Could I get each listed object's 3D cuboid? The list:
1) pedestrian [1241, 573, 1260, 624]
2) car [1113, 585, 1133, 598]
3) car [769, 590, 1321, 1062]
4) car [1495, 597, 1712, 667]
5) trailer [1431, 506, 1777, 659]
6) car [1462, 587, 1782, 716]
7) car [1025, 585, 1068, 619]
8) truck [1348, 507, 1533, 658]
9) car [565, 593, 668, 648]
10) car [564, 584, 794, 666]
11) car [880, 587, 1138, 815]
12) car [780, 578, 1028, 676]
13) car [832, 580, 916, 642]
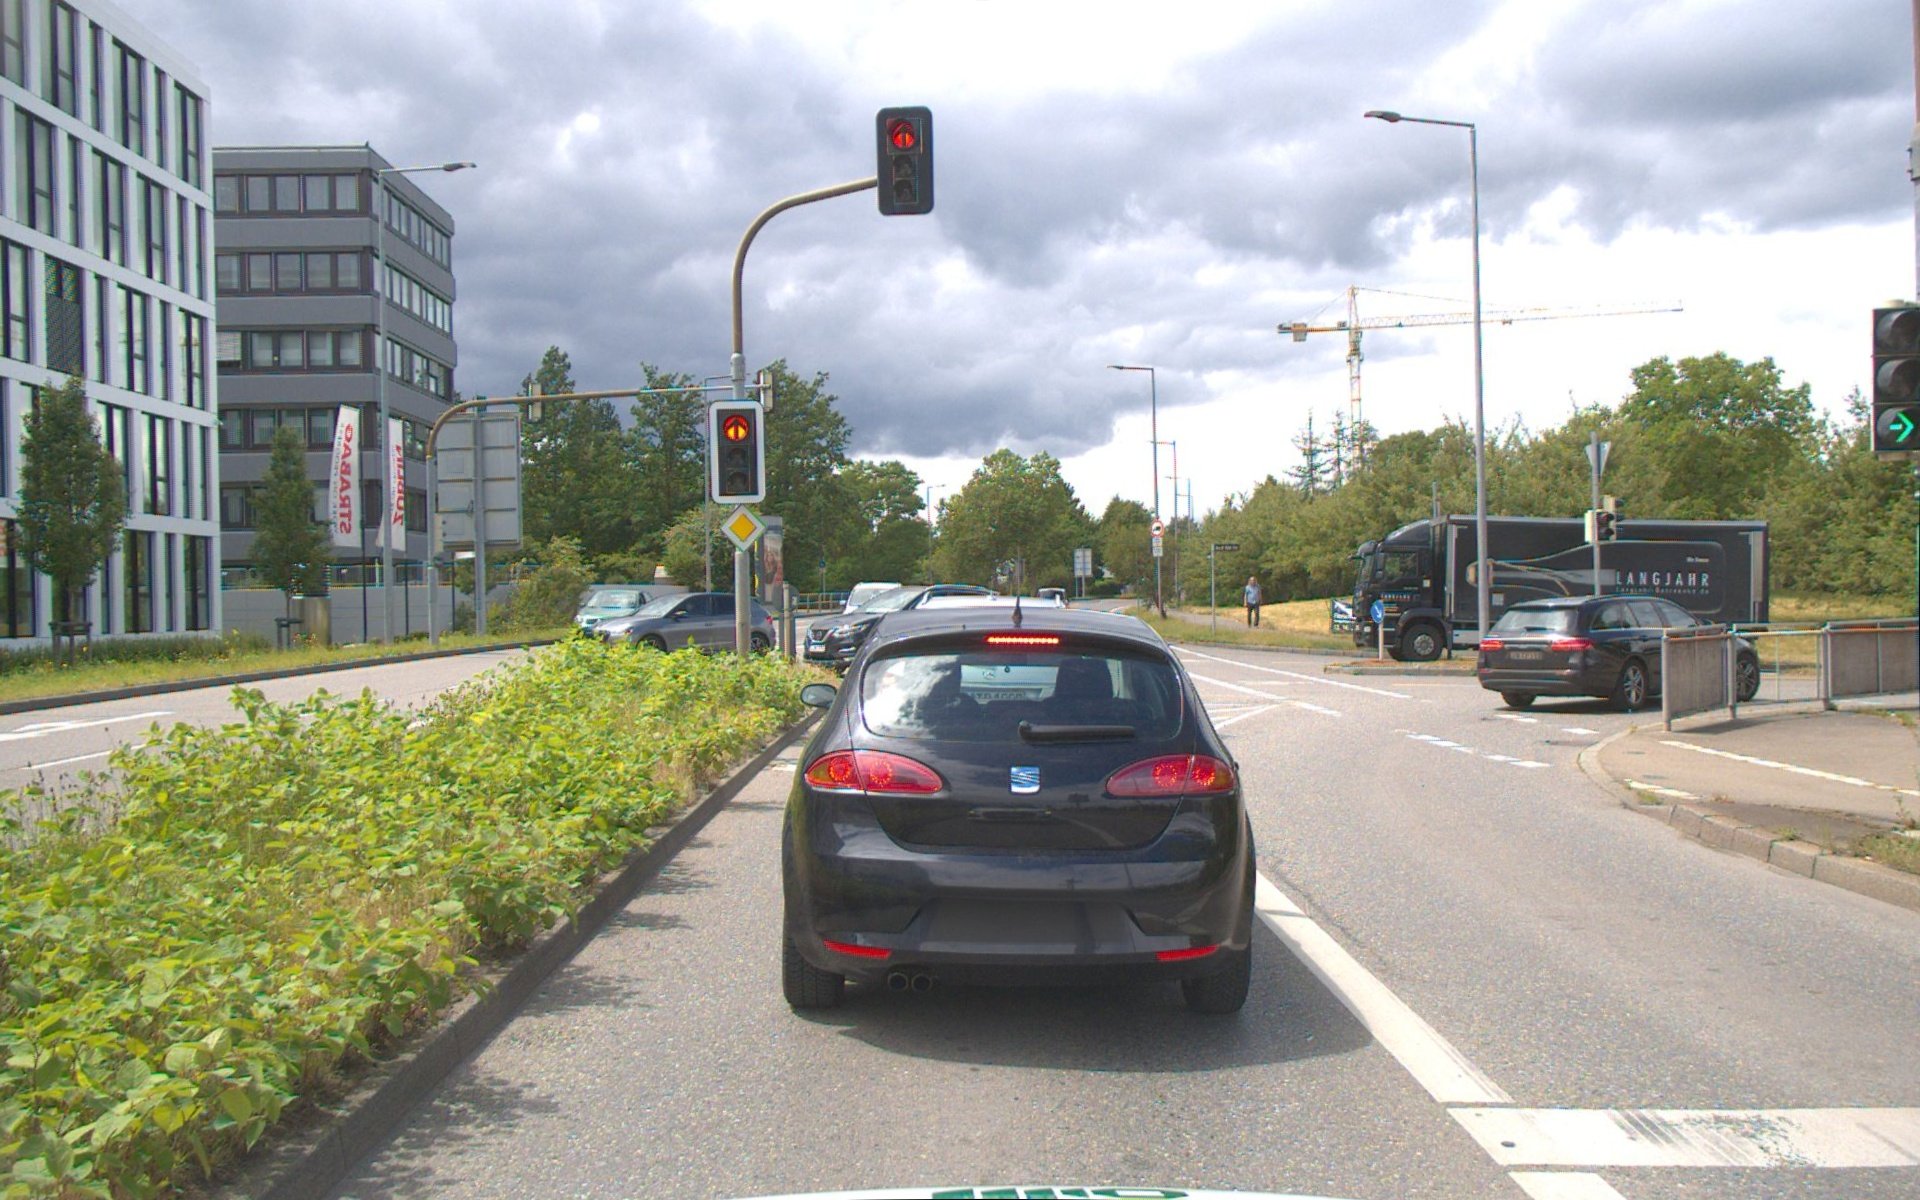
[{"bbox_3d":[10.064,-0.050,57.401,0.547,1.756,0.588,0,0,0],"label":"pedestrian"},{"bbox_3d":[17.968,-0.940,182.470,1.951,1.375,4.004,0,0,10],"label":"car"},{"bbox_3d":[0.244,0.706,7.015,1.737,1.477,3.581,0,0,-1],"label":"car"},{"bbox_3d":[13.686,0.664,35.366,3.903,1.445,2.001,0,0,3],"label":"car"},{"bbox_3d":[15.203,-0.420,39.364,7.425,3.519,2.001,0,0,3],"label":"trailer"},{"bbox_3d":[9.071,0.615,22.435,5.152,1.466,1.851,-2,1,-40],"label":"car"},{"bbox_3d":[4.168,0.090,79.186,1.951,1.557,4.002,0,0,4],"label":"car"},{"bbox_3d":[11.436,-0.418,39.572,3.903,3.530,2.001,0,0,4],"label":"truck"},{"bbox_3d":[-9.033,0.505,43.777,1.953,1.375,3.999,0,0,-1],"label":"car"},{"bbox_3d":[-5.697,0.471,33.853,4.282,1.552,1.969,-1,0,-43],"label":"car"},{"bbox_3d":[0.254,0.675,13.133,1.738,1.517,3.580,-1,0,-3],"label":"car"},{"bbox_3d":[-0.986,0.445,30.347,4.278,1.644,1.971,-1,0,-41],"label":"car"},{"bbox_3d":[-2.338,0.278,45.944,1.952,1.624,4.001,0,0,2],"label":"car"}]
